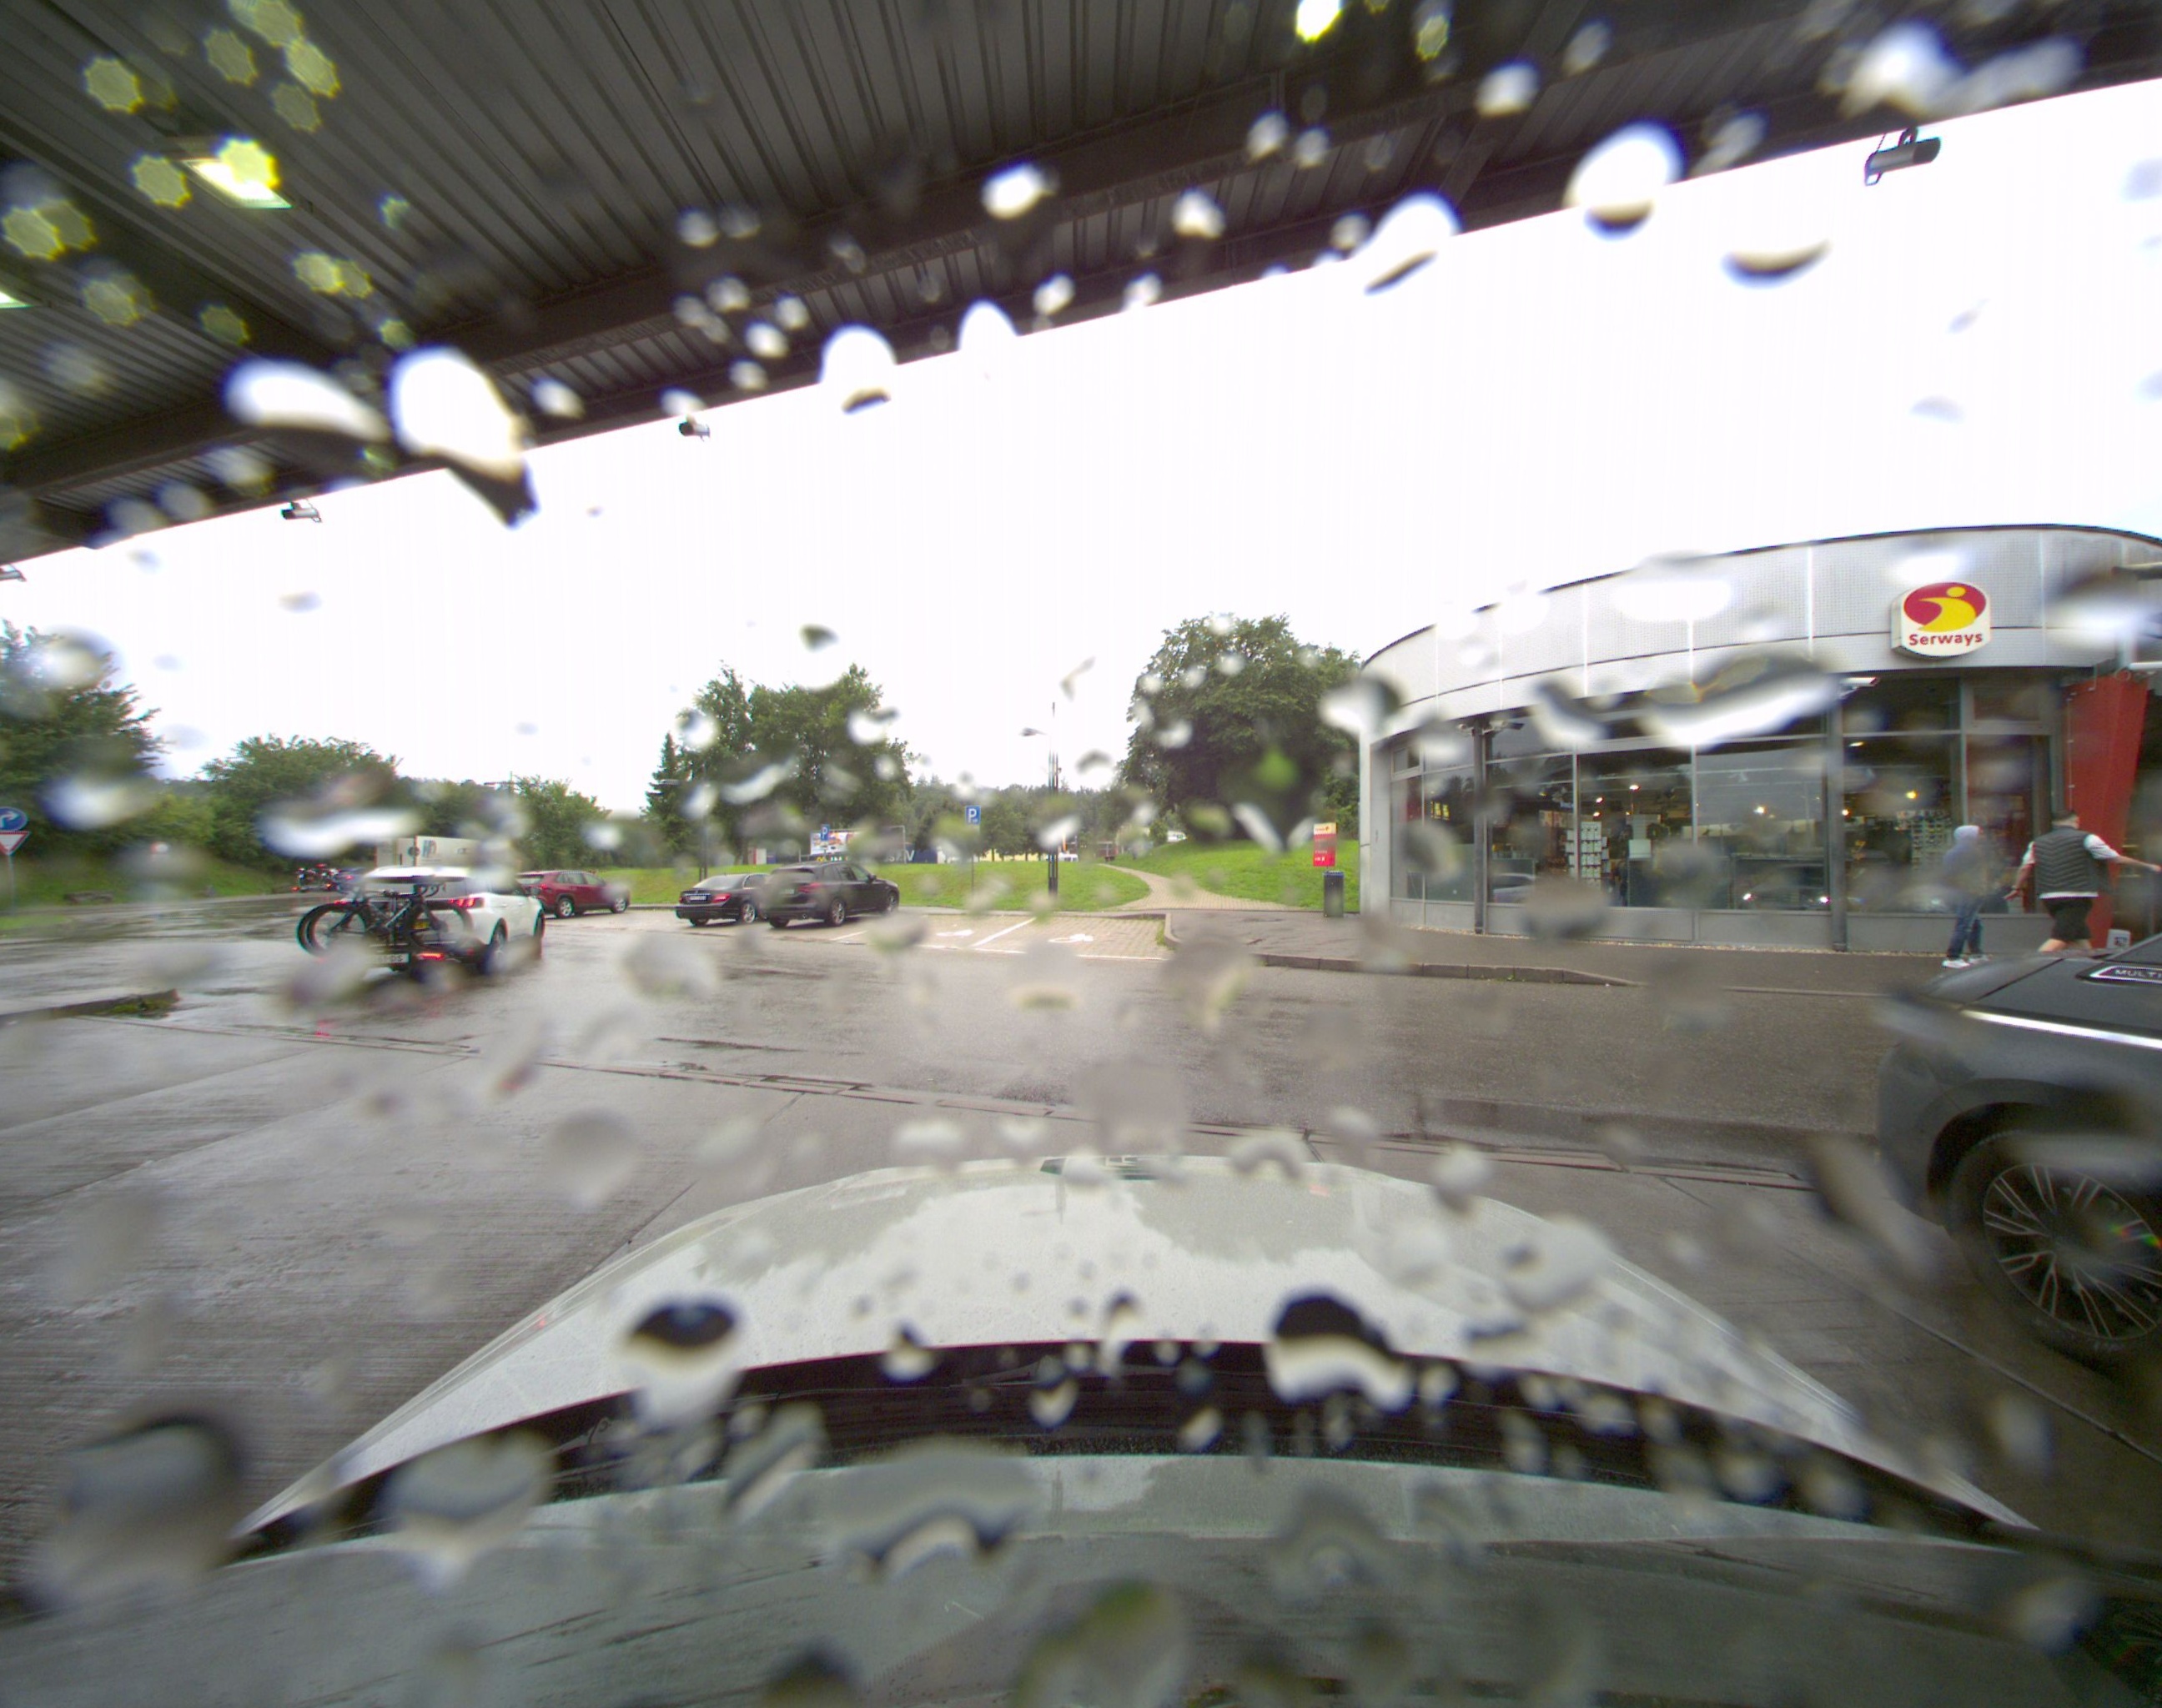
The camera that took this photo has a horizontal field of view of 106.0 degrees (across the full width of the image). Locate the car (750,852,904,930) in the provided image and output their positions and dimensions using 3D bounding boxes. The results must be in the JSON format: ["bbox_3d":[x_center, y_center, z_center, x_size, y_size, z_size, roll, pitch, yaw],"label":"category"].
[{"bbox_3d":[-6.613,0.888,21.760,1.871,1.828,4.429,-2,0,13],"label":"car"}]

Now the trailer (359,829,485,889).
[{"bbox_3d":[-54.879,0.426,68.504,3.466,4.557,13.827,0,-1,-18],"label":"trailer"}]

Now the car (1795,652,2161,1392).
[{"bbox_3d":[3.717,0.436,1.249,1.809,1.948,4.002,-1,0,2],"label":"car"}]

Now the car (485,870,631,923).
[{"bbox_3d":[-18.155,1.416,28.543,1.873,1.596,4.364,-2,0,8],"label":"car"}]

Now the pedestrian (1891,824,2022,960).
[{"bbox_3d":[10.431,0.434,9.743,0.880,1.550,0.665,-2,0,31],"label":"pedestrian"}]

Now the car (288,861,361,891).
[{"bbox_3d":[-49.214,1.398,53.097,1.934,1.838,4.361,-1,0,-20],"label":"car"}]

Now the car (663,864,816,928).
[{"bbox_3d":[-9.614,1.137,23.318,1.871,1.565,4.200,-2,0,13],"label":"car"}]

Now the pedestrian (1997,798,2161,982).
[{"bbox_3d":[10.685,0.364,8.702,0.963,1.848,0.778,-2,0,30],"label":"pedestrian"}]

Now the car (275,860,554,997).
[{"bbox_3d":[-9.470,0.884,12.127,1.822,1.565,4.966,0,0,-22],"label":"car"}]

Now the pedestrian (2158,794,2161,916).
[{"bbox_3d":[13.427,0.190,9.365,0.989,1.864,0.804,-2,0,30],"label":"pedestrian"}]

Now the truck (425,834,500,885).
[{"bbox_3d":[-57.101,0.499,75.445,3.467,4.557,6.694,0,-1,-18],"label":"truck"}]

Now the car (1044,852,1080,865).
[{"bbox_3d":[-3.168,0.799,134.097,5.376,2.013,2.468,-1,0,21],"label":"car"}]
